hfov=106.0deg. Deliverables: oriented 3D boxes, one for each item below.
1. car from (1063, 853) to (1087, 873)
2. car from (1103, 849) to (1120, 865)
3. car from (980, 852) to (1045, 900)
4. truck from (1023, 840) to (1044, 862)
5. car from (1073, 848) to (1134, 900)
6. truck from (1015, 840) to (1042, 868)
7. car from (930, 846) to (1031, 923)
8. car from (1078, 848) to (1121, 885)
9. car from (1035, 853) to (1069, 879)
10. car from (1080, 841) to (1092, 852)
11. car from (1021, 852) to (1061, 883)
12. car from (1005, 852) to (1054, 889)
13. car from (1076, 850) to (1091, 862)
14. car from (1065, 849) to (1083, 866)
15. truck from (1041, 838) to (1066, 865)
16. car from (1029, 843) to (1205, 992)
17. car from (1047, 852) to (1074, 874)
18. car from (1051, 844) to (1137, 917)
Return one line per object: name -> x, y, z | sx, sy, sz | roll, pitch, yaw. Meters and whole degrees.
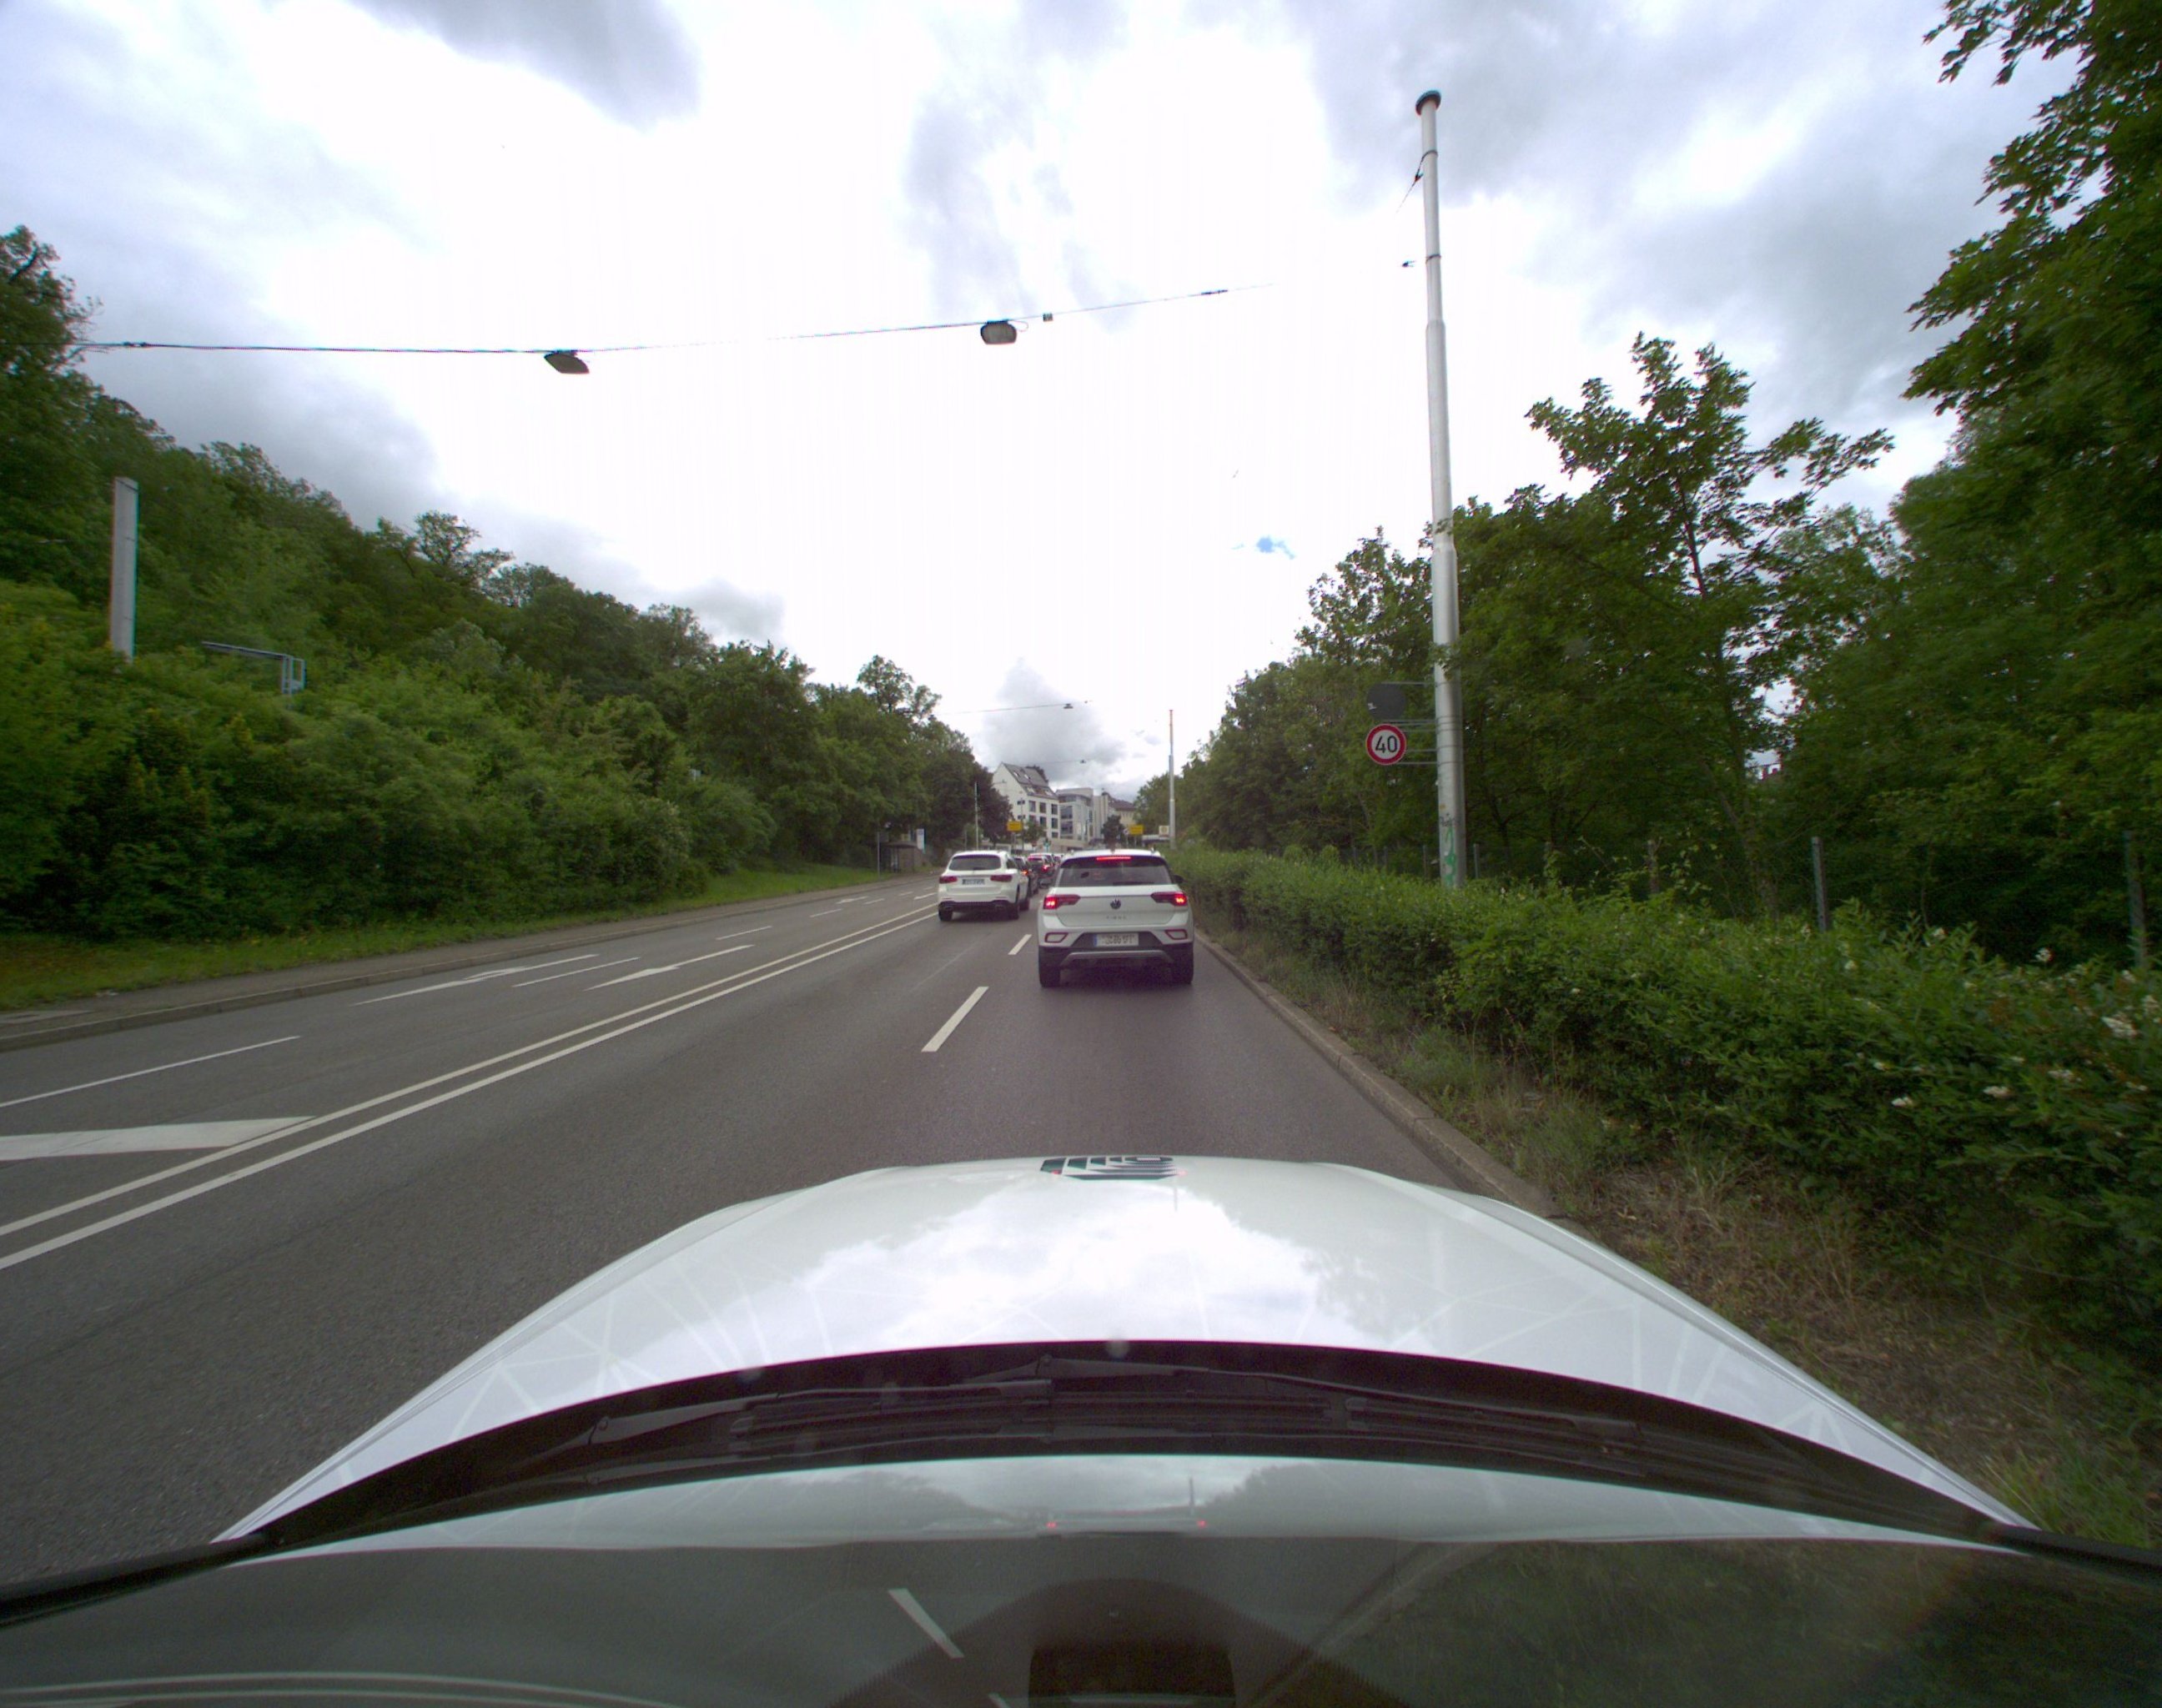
car -> -0.458, 0.714, 67.767 | 1.823, 1.526, 4.001 | -2, 0, 1
car -> 3.900, 0.361, 104.926 | 1.986, 2.013, 4.002 | -3, 0, 2
car -> -2.373, 0.725, 29.122 | 1.823, 1.497, 4.001 | -2, 0, 1
truck -> -7.174, -0.434, 124.258 | 2.283, 3.051, 6.985 | -3, 0, 3
car -> 0.730, 0.626, 27.072 | 1.823, 1.526, 4.001 | -2, 0, 1
truck -> -5.488, -0.018, 86.266 | 2.354, 2.706, 4.479 | -3, 0, 1
car -> -2.363, 0.676, 20.159 | 1.911, 1.669, 4.001 | -1, 0, 1
car -> 0.832, 0.527, 37.452 | 1.823, 1.526, 4.001 | -2, 0, 1
car -> -1.804, 0.749, 51.633 | 1.823, 1.526, 4.001 | -2, 0, 1
car -> 0.764, -1.132, 122.372 | 1.823, 1.526, 4.001 | -2, 0, 1
car -> -2.123, 0.713, 44.304 | 1.823, 1.526, 4.001 | -2, 0, 1
car -> -2.270, 0.700, 36.953 | 1.823, 1.526, 4.001 | -2, 0, 1
car -> 0.324, 0.238, 104.363 | 1.823, 1.526, 4.001 | -2, 0, 1
car -> -0.770, 0.353, 89.029 | 1.809, 1.656, 3.929 | -3, 0, 1
truck -> -3.058, -0.292, 90.817 | 2.354, 2.782, 4.479 | -3, 0, 1
car -> 0.425, 0.673, 10.645 | 1.823, 1.526, 4.001 | -2, 0, 1
car -> -1.486, 0.635, 60.808 | 1.823, 1.526, 4.001 | -2, 0, 1
car -> 0.332, 0.568, 19.892 | 1.823, 1.526, 4.001 | -2, 0, 1
